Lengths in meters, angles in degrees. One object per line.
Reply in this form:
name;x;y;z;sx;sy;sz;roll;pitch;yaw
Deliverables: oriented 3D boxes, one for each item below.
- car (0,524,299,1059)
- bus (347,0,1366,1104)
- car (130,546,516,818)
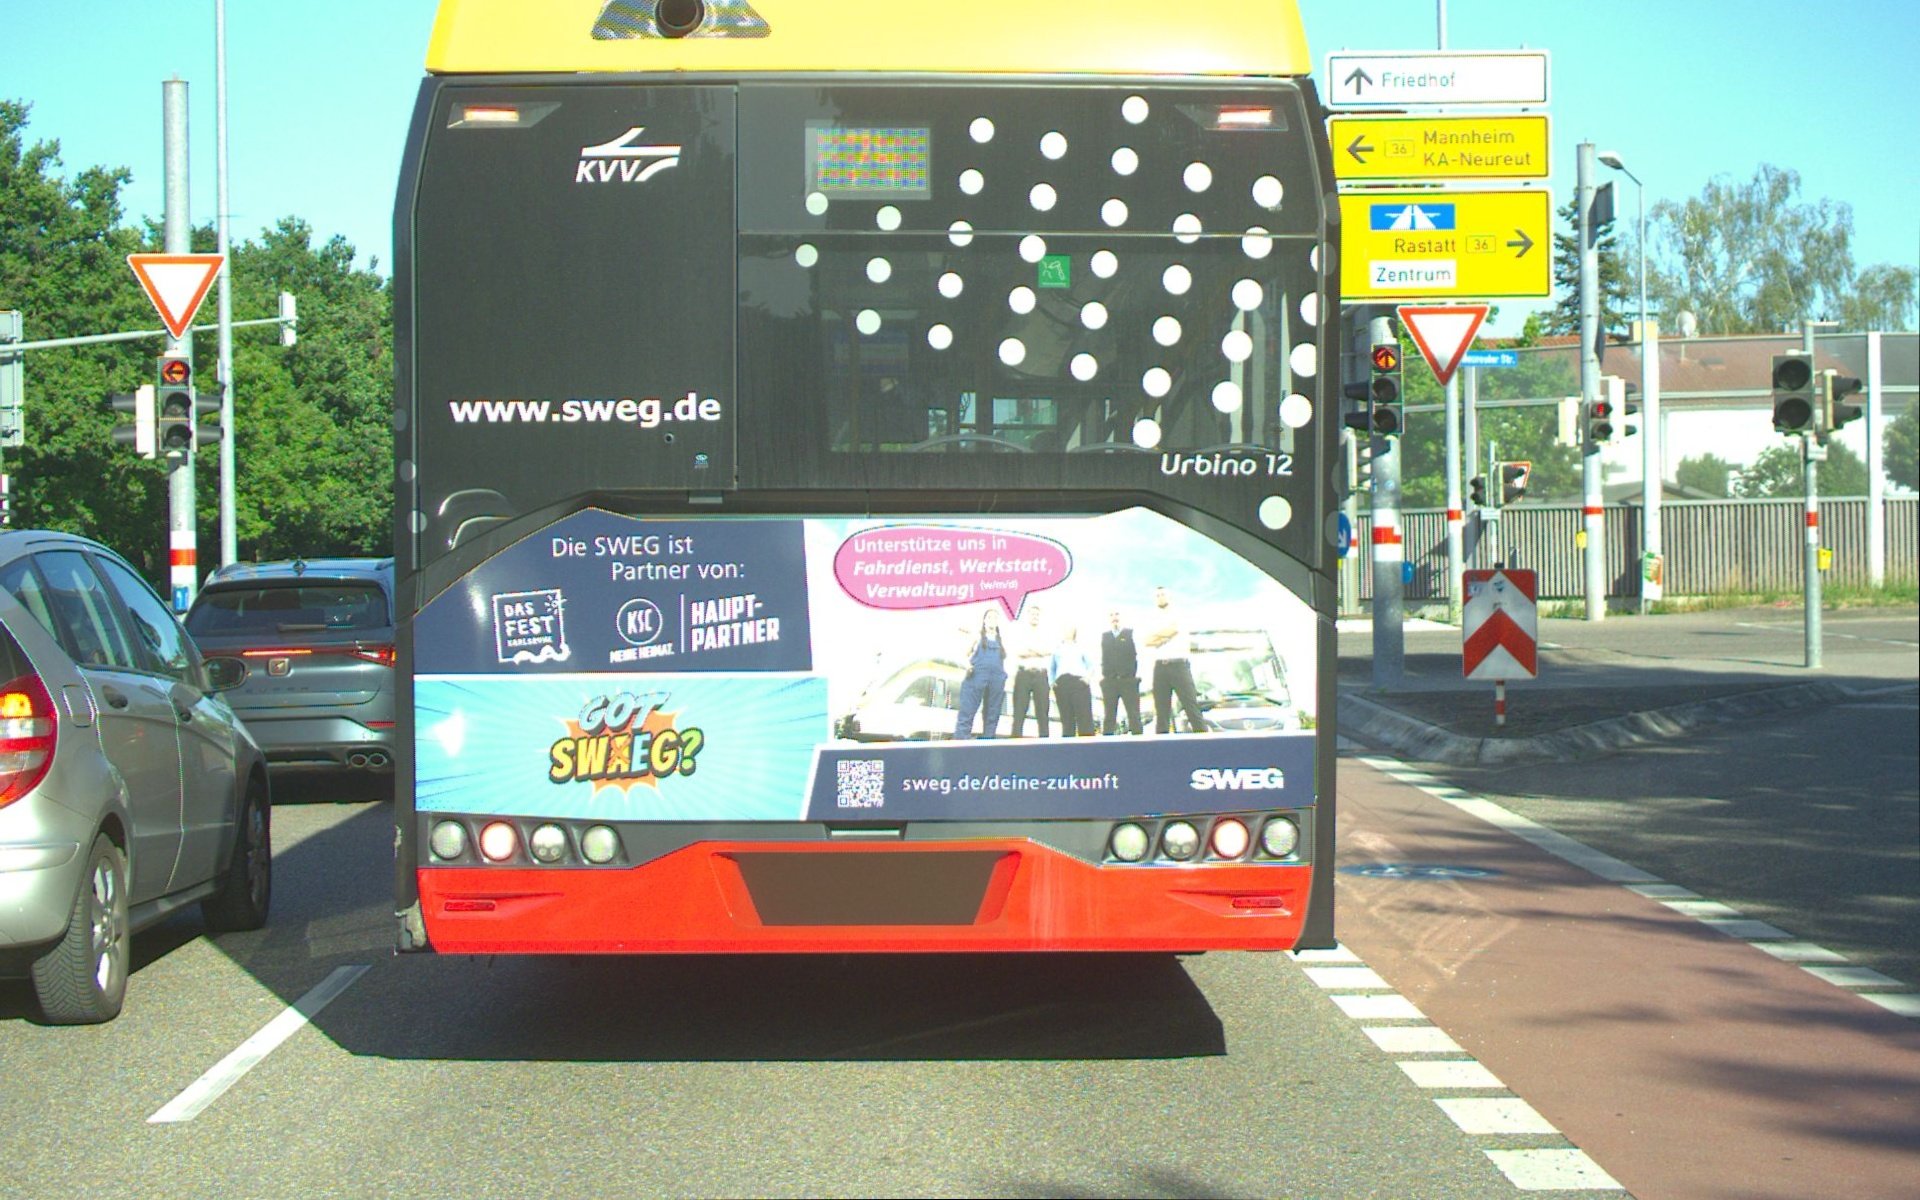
car;-3.603;0.561;12.196;1.761;1.584;4.000;-2;1;-1
bus;-0.291;-0.402;14.895;2.642;3.156;11.861;0;1;0
car;-3.811;0.431;21.128;1.692;1.453;3.751;-2;1;-1
